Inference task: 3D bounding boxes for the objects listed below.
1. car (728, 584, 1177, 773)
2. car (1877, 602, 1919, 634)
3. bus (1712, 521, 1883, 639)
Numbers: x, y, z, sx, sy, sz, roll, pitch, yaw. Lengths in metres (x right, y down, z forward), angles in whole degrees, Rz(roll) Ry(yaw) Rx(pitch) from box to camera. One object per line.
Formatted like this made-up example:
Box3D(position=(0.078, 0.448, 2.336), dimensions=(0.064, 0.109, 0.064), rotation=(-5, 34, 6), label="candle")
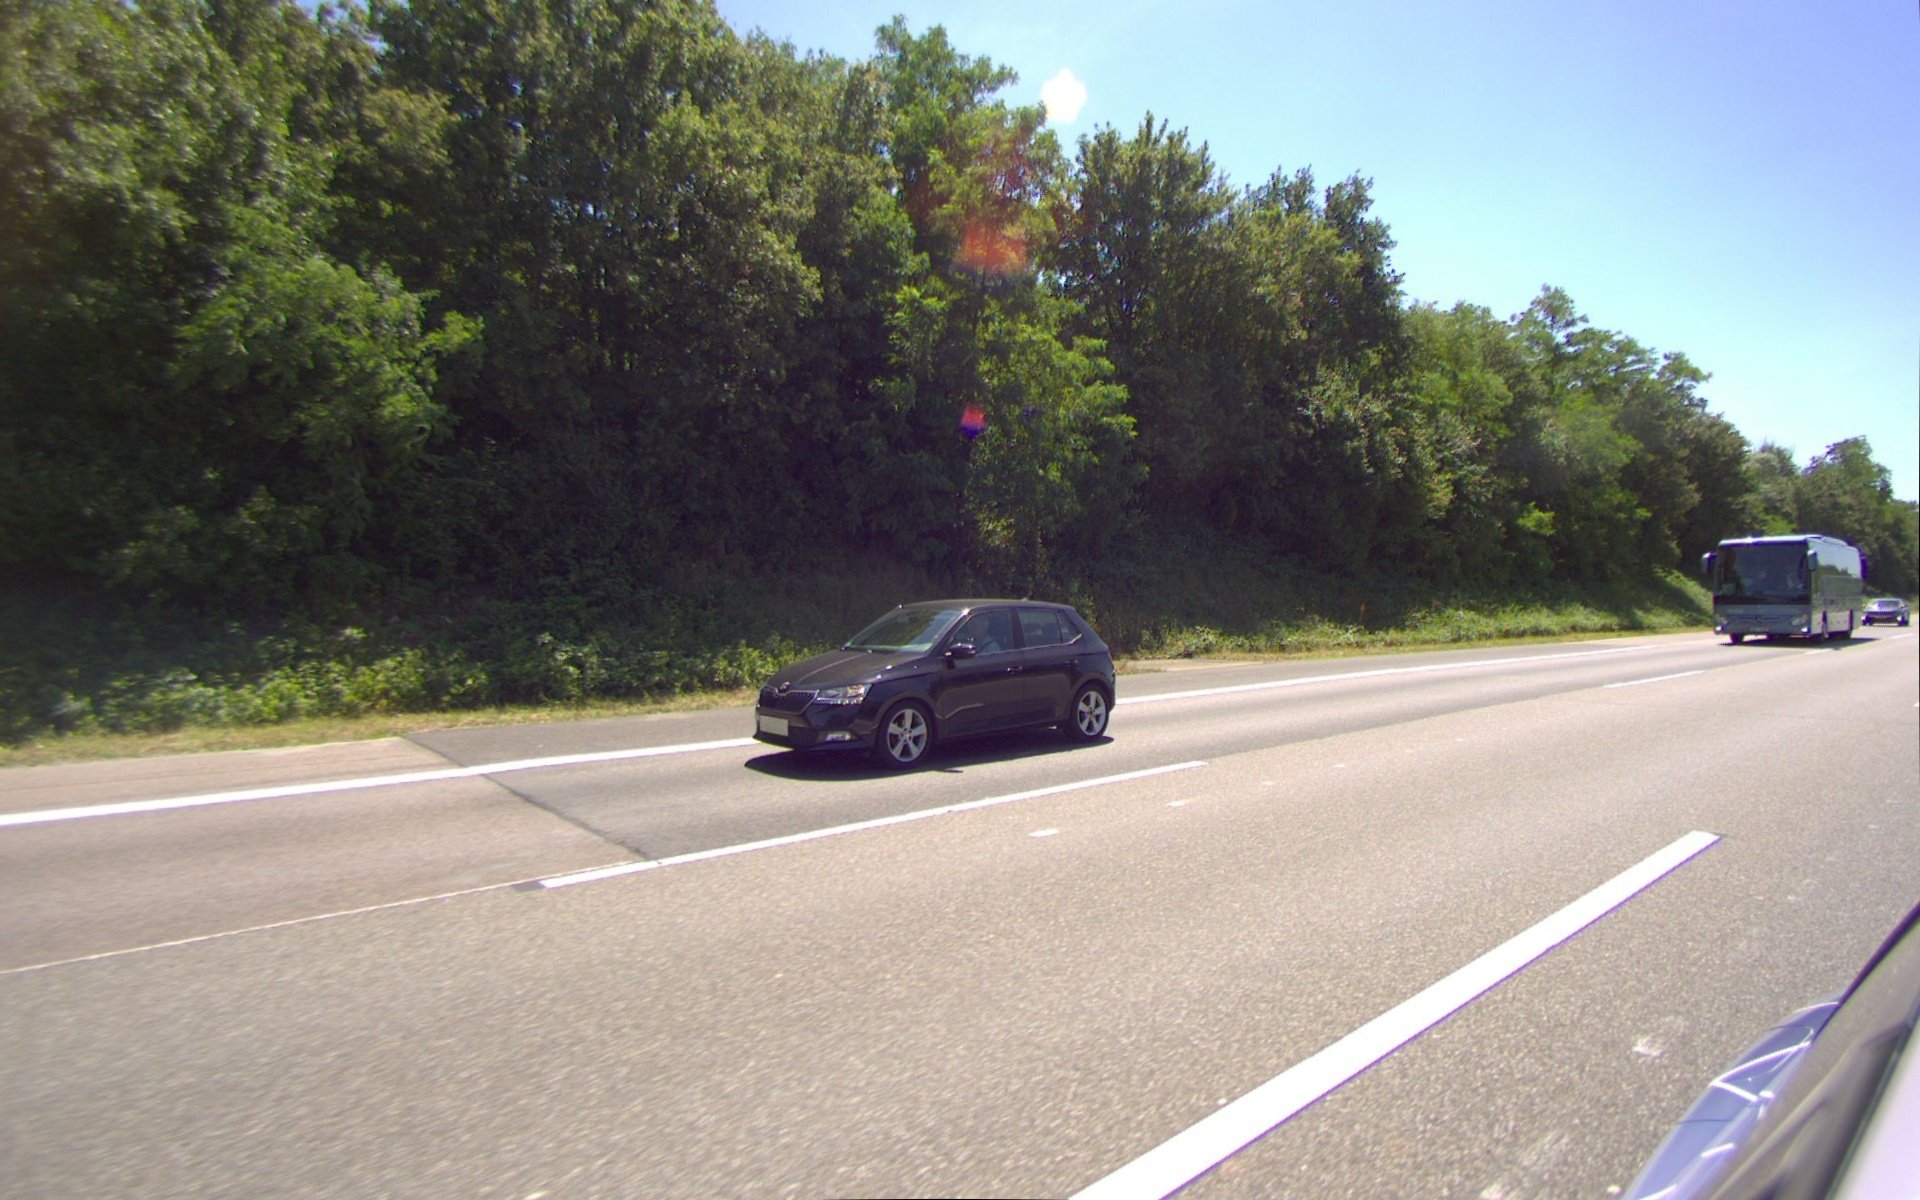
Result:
Box3D(position=(0.112, 0.598, 10.133), dimensions=(4.495, 1.465, 1.672), rotation=(-1, 0, -41), label="car")
Box3D(position=(52.593, 0.964, 56.393), dimensions=(3.931, 1.636, 1.812), rotation=(-1, 1, -41), label="car")
Box3D(position=(30.248, -0.720, 36.186), dimensions=(13.446, 3.597, 2.614), rotation=(-1, 0, -41), label="bus")
